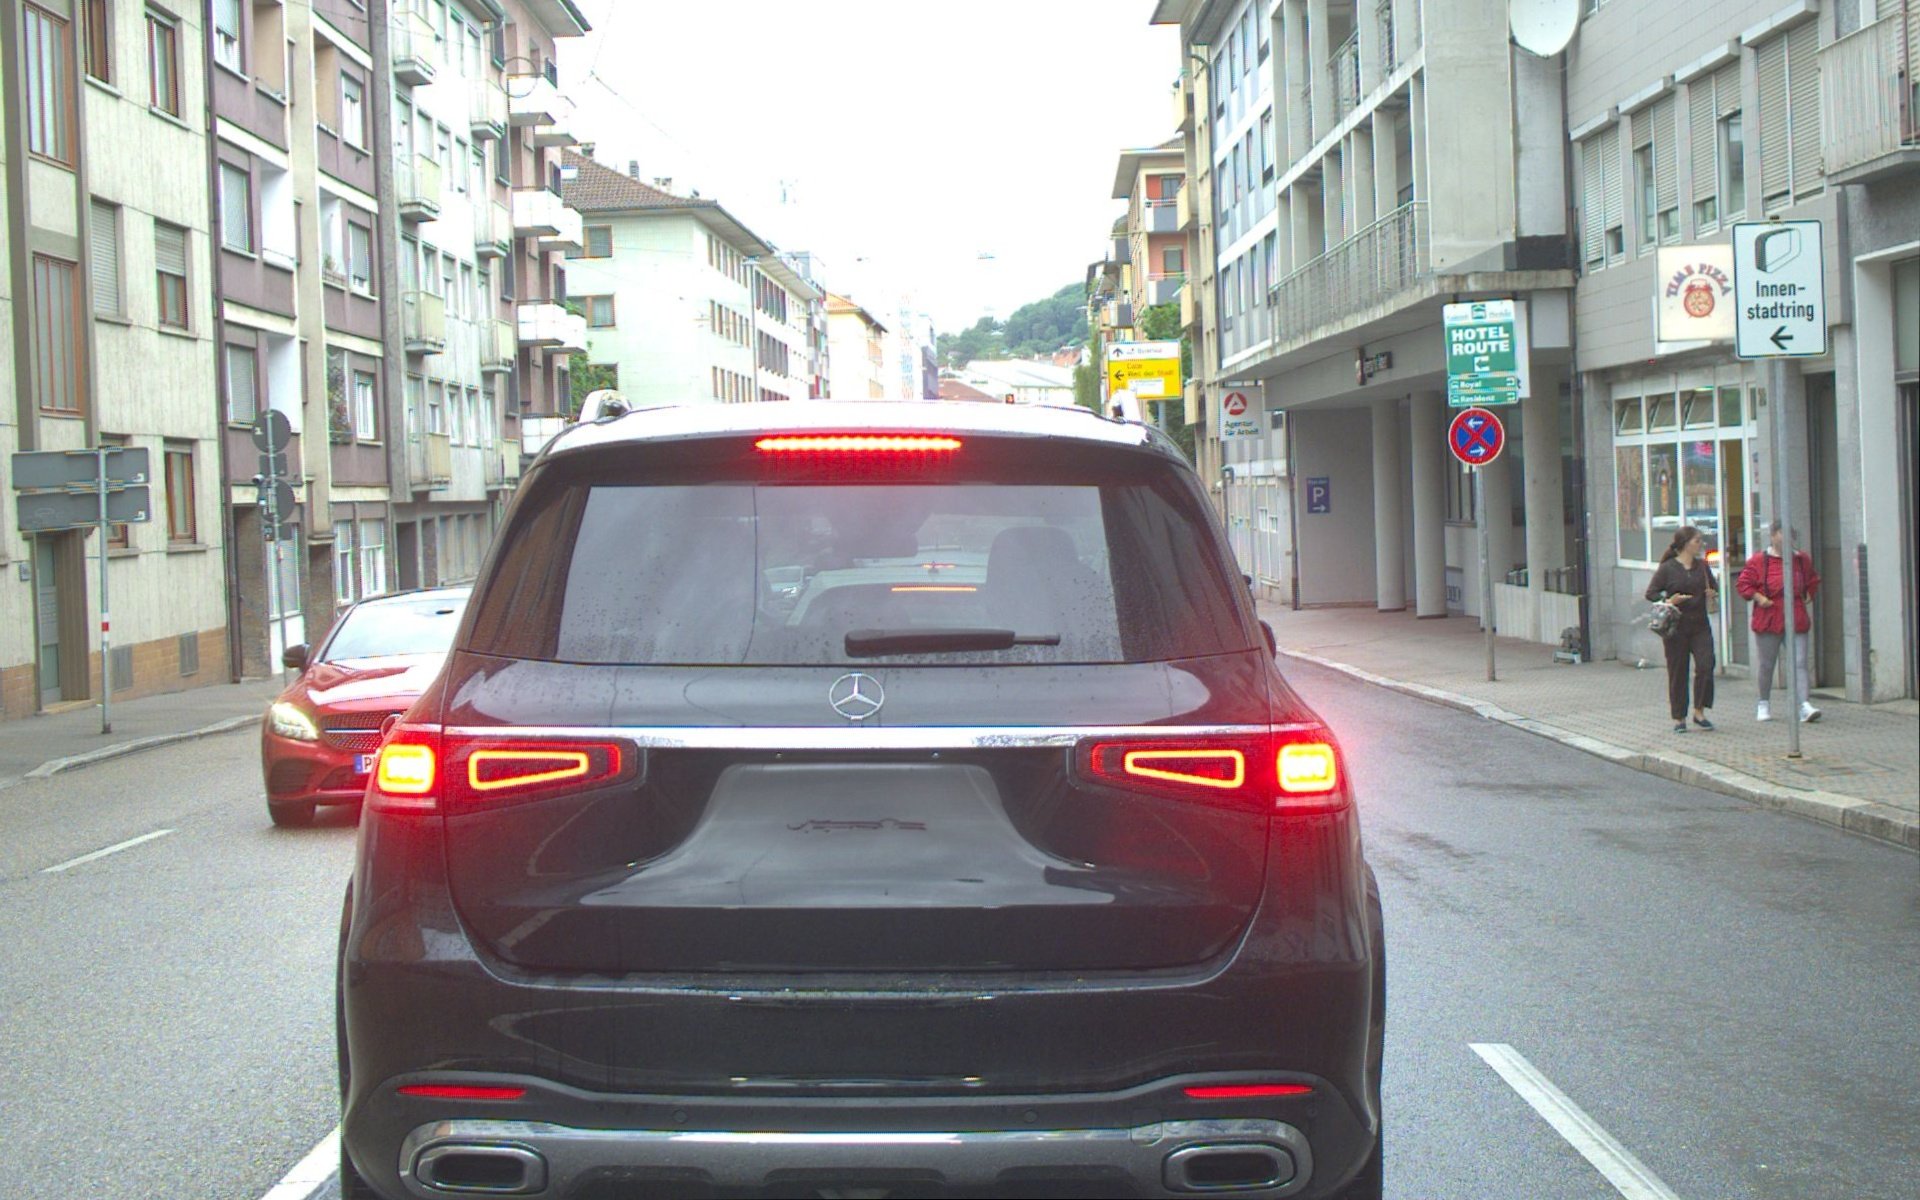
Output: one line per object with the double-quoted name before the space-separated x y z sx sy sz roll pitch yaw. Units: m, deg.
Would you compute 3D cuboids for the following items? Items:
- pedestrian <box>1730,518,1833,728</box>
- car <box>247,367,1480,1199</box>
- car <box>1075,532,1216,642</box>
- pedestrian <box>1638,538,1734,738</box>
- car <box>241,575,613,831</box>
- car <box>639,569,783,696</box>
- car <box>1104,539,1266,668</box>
"pedestrian" 6.337 0.173 26.536 0.560 1.573 0.526 -4 1 -1
"car" -0.202 0.498 7.709 2.025 1.799 4.000 1 1 -1
"car" 3.064 -0.245 57.778 1.940 1.769 4.747 0 1 -2
"pedestrian" 5.597 0.283 26.520 0.506 1.495 0.562 -4 1 -1
"car" -3.357 0.590 22.424 1.724 1.385 4.339 -3 1 -1
"car" -3.517 0.428 49.172 1.732 1.570 4.012 -5 1 -1
"car" 2.854 0.007 44.325 1.767 1.575 4.000 -1 1 -1
